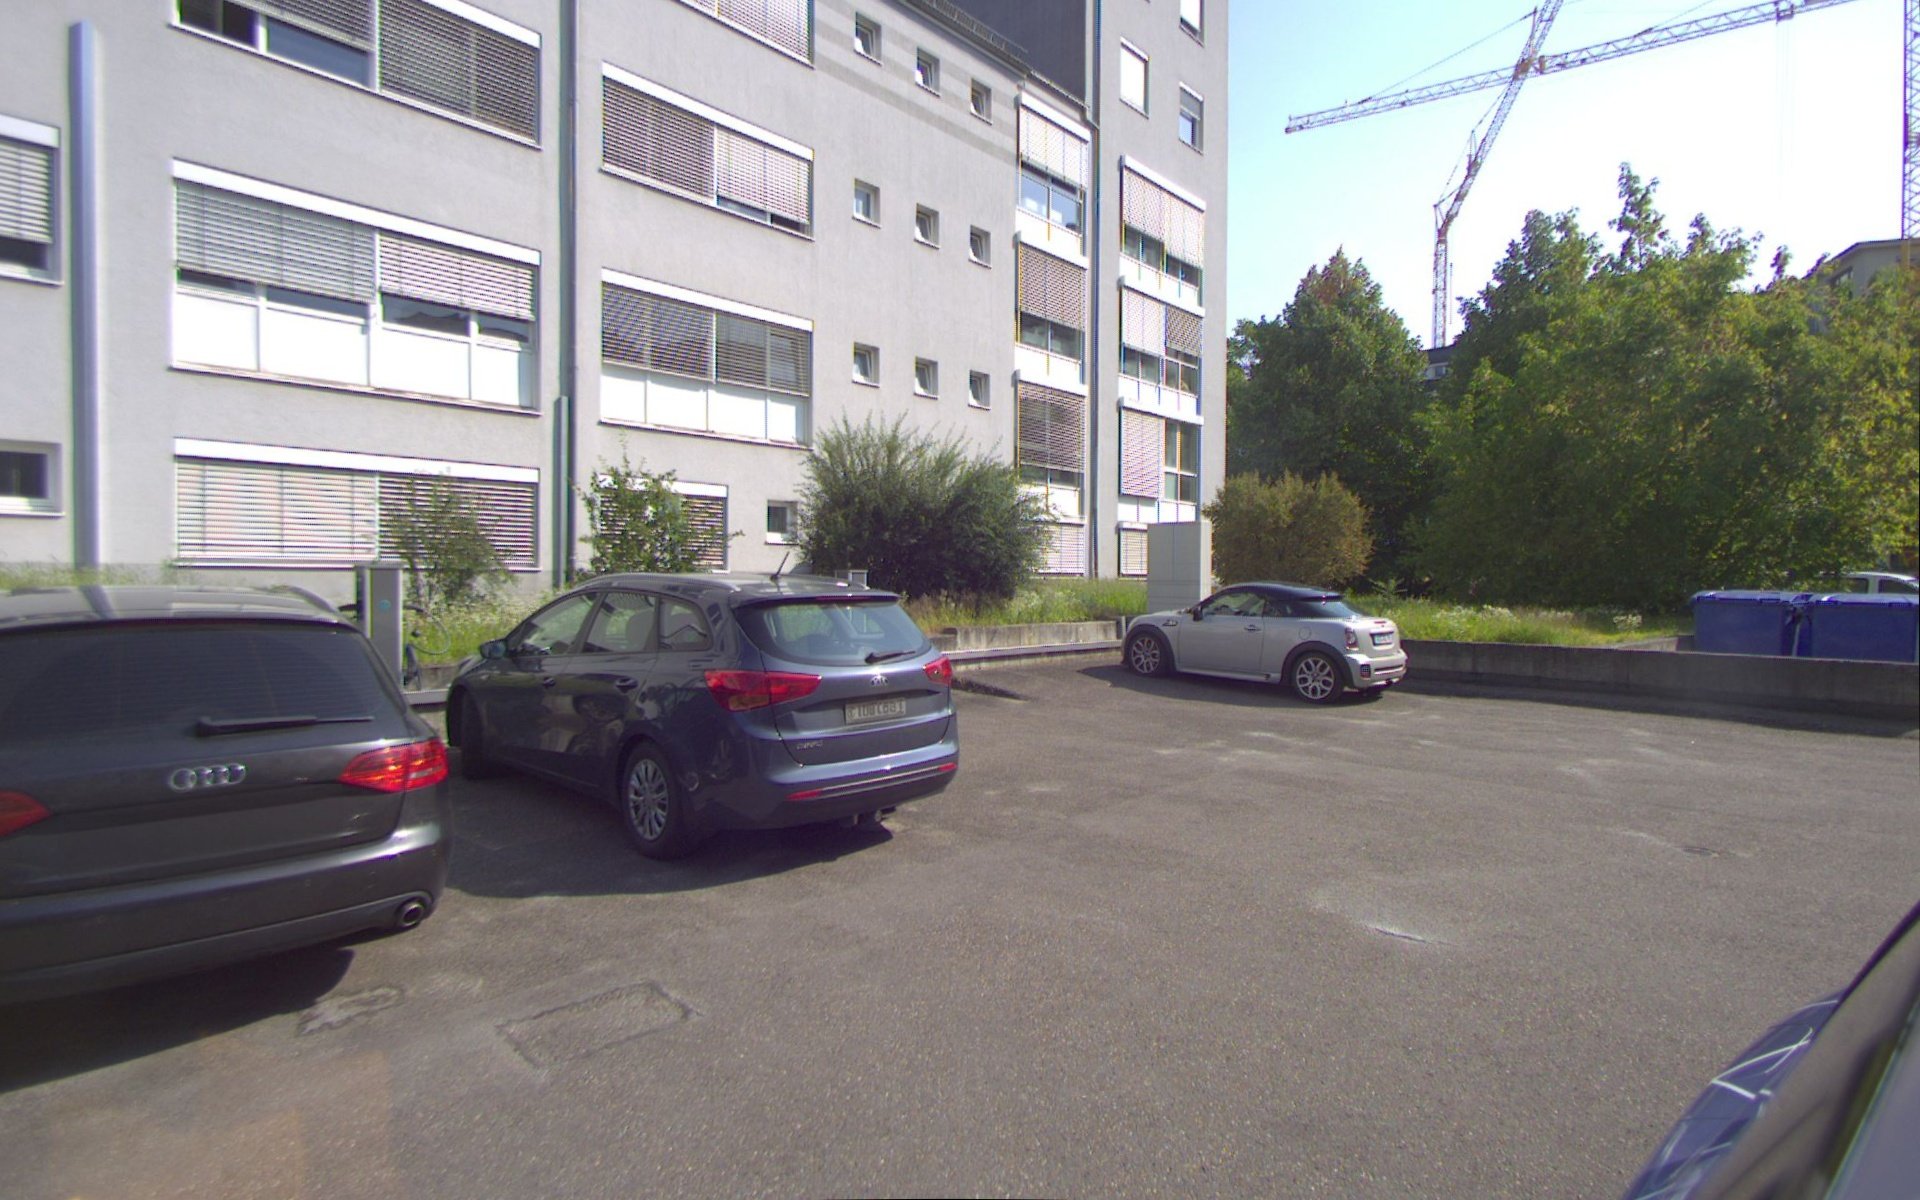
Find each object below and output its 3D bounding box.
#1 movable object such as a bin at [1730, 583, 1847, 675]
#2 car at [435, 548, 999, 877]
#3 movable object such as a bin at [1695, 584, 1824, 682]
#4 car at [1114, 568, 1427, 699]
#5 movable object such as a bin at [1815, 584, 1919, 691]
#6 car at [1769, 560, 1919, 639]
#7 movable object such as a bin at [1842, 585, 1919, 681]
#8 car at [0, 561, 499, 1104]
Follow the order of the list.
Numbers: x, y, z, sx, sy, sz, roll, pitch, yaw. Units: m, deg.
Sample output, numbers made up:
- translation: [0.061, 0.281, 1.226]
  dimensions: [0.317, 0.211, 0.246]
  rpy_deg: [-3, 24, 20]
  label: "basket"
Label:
- translation: [12.844, 0.409, 15.695]
  dimensions: [1.253, 1.344, 1.199]
  rpy_deg: [0, 1, -40]
  label: "movable object such as a bin"
- translation: [-1.818, 0.453, 6.643]
  dimensions: [4.048, 1.496, 1.715]
  rpy_deg: [2, 2, 44]
  label: "car"
- translation: [11.648, 0.438, 14.744]
  dimensions: [1.253, 1.344, 1.256]
  rpy_deg: [0, 1, -40]
  label: "movable object such as a bin"
- translation: [3.945, 0.331, 13.225]
  dimensions: [1.631, 1.455, 3.573]
  rpy_deg: [0, 2, -44]
  label: "car"
- translation: [12.470, 0.475, 13.709]
  dimensions: [1.253, 1.368, 1.212]
  rpy_deg: [0, 1, -43]
  label: "movable object such as a bin"
- translation: [24.050, -0.032, 25.998]
  dimensions: [1.874, 1.955, 4.790]
  rpy_deg: [0, 1, -39]
  label: "car"
- translation: [13.693, 0.452, 14.672]
  dimensions: [1.253, 1.344, 1.199]
  rpy_deg: [0, 1, -40]
  label: "movable object such as a bin"
- translation: [-3.675, 0.565, 4.576]
  dimensions: [1.662, 1.455, 4.238]
  rpy_deg: [0, 2, -43]
  label: "car"
